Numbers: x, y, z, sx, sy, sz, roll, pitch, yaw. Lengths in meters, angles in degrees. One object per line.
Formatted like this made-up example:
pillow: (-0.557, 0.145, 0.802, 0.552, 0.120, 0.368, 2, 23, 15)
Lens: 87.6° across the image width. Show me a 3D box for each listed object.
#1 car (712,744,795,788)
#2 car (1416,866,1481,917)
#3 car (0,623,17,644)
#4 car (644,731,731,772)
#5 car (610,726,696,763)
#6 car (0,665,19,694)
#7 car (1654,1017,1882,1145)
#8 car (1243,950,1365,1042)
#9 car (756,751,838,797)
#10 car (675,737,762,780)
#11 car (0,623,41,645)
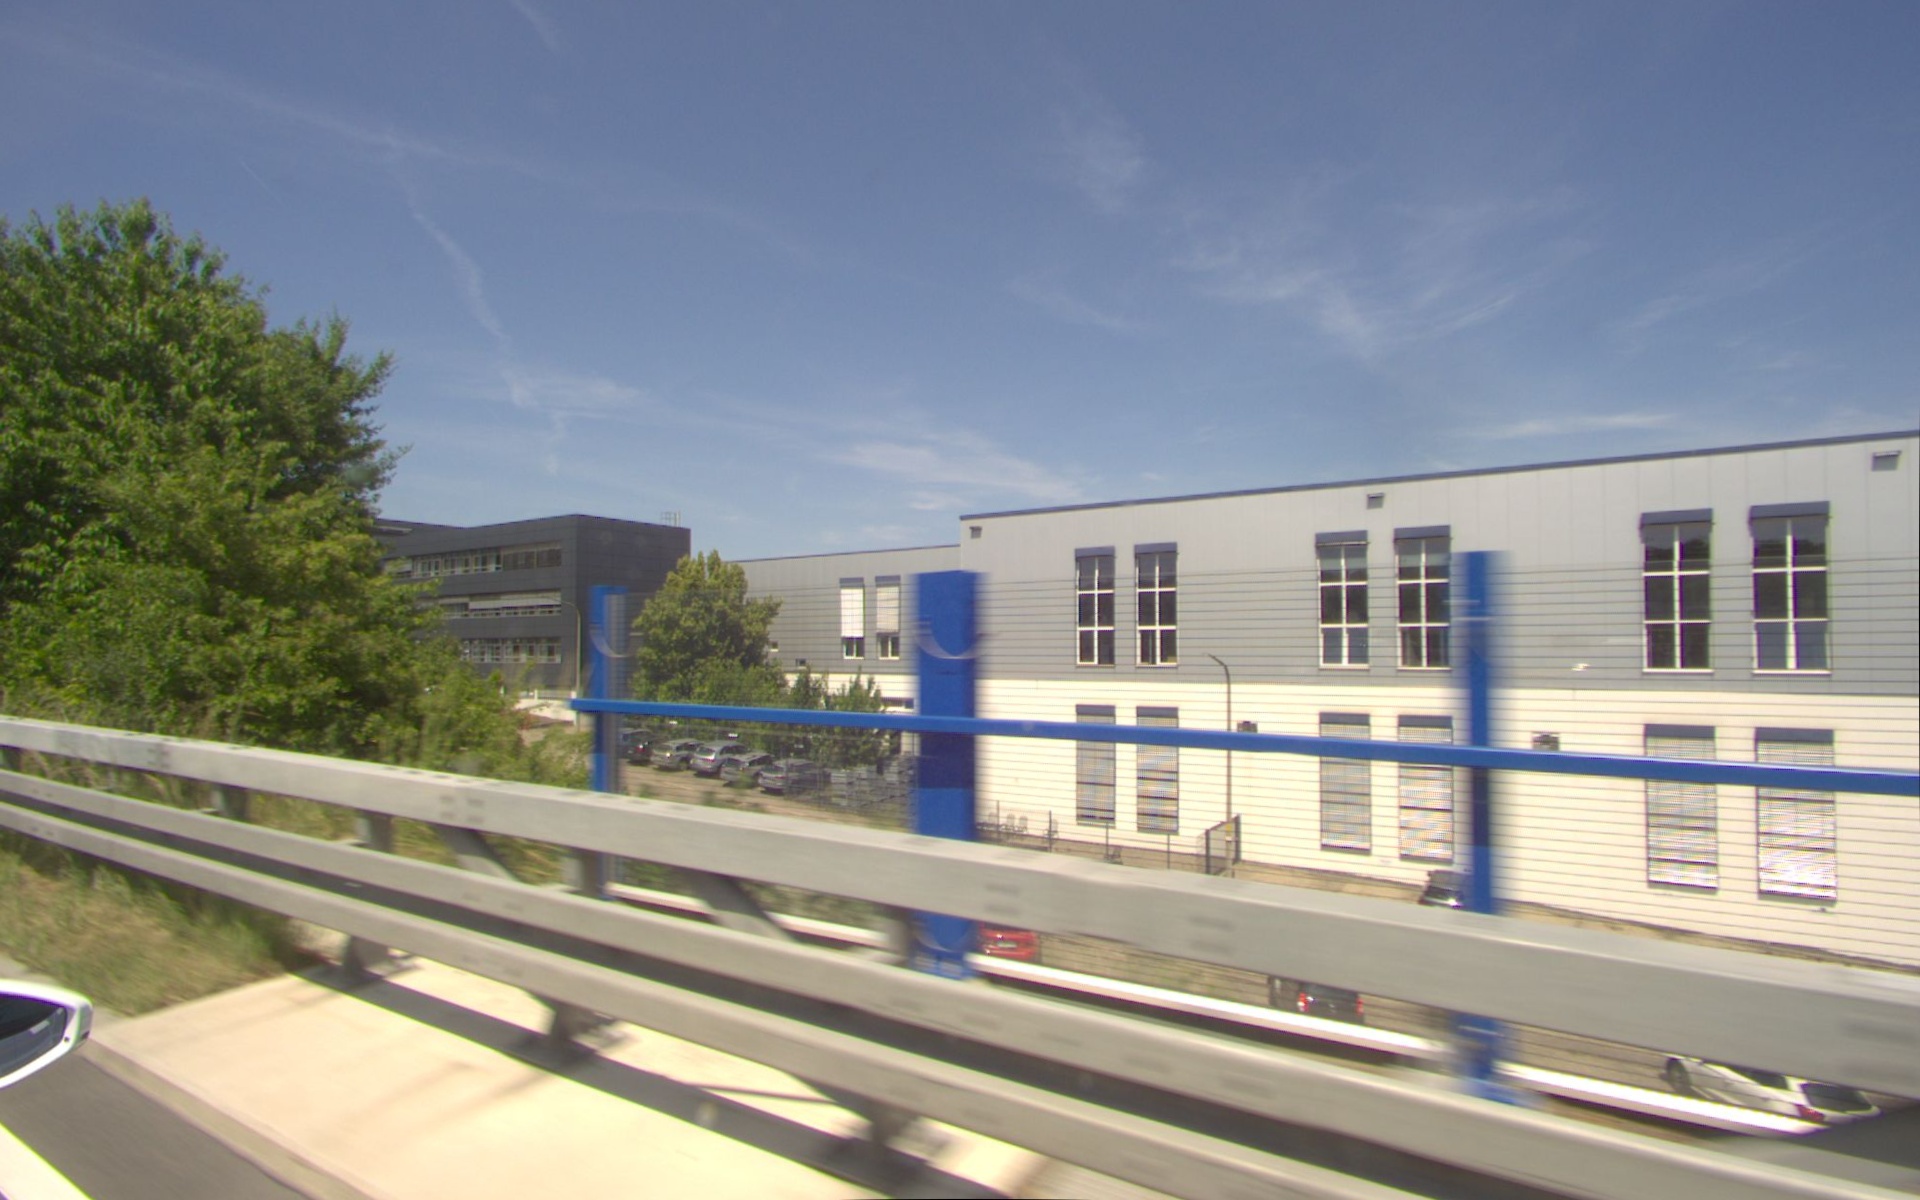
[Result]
car: (-10.628, 8.532, 51.749, 1.883, 1.593, 4.031, 3, 0, 31)
car: (16.705, 9.906, 34.157, 1.492, 1.160, 3.668, -2, -9, 34)
car: (-81.830, 2.543, 83.255, 4.528, 1.647, 1.812, 9, -6, -29)
car: (-14.907, 8.272, 55.035, 1.793, 1.593, 4.565, 3, 0, 31)
car: (-17.233, 8.120, 56.443, 1.793, 1.592, 4.568, 3, -2, 31)
car: (-55.654, 4.251, 55.724, 4.325, 1.472, 1.808, 10, -6, -31)
car: (15.759, 9.395, 19.800, 1.367, 1.160, 3.690, 4, -8, -3)
car: (8.185, 9.463, 24.151, 1.483, 1.160, 3.690, 4, -8, -3)
car: (-8.141, 8.693, 50.371, 1.883, 1.593, 4.031, 3, 0, 31)
car: (-12.843, 8.407, 53.530, 1.793, 1.593, 4.565, 3, 0, 31)
car: (-78.513, 2.716, 81.906, 4.517, 1.540, 1.812, 4, 1, -25)
